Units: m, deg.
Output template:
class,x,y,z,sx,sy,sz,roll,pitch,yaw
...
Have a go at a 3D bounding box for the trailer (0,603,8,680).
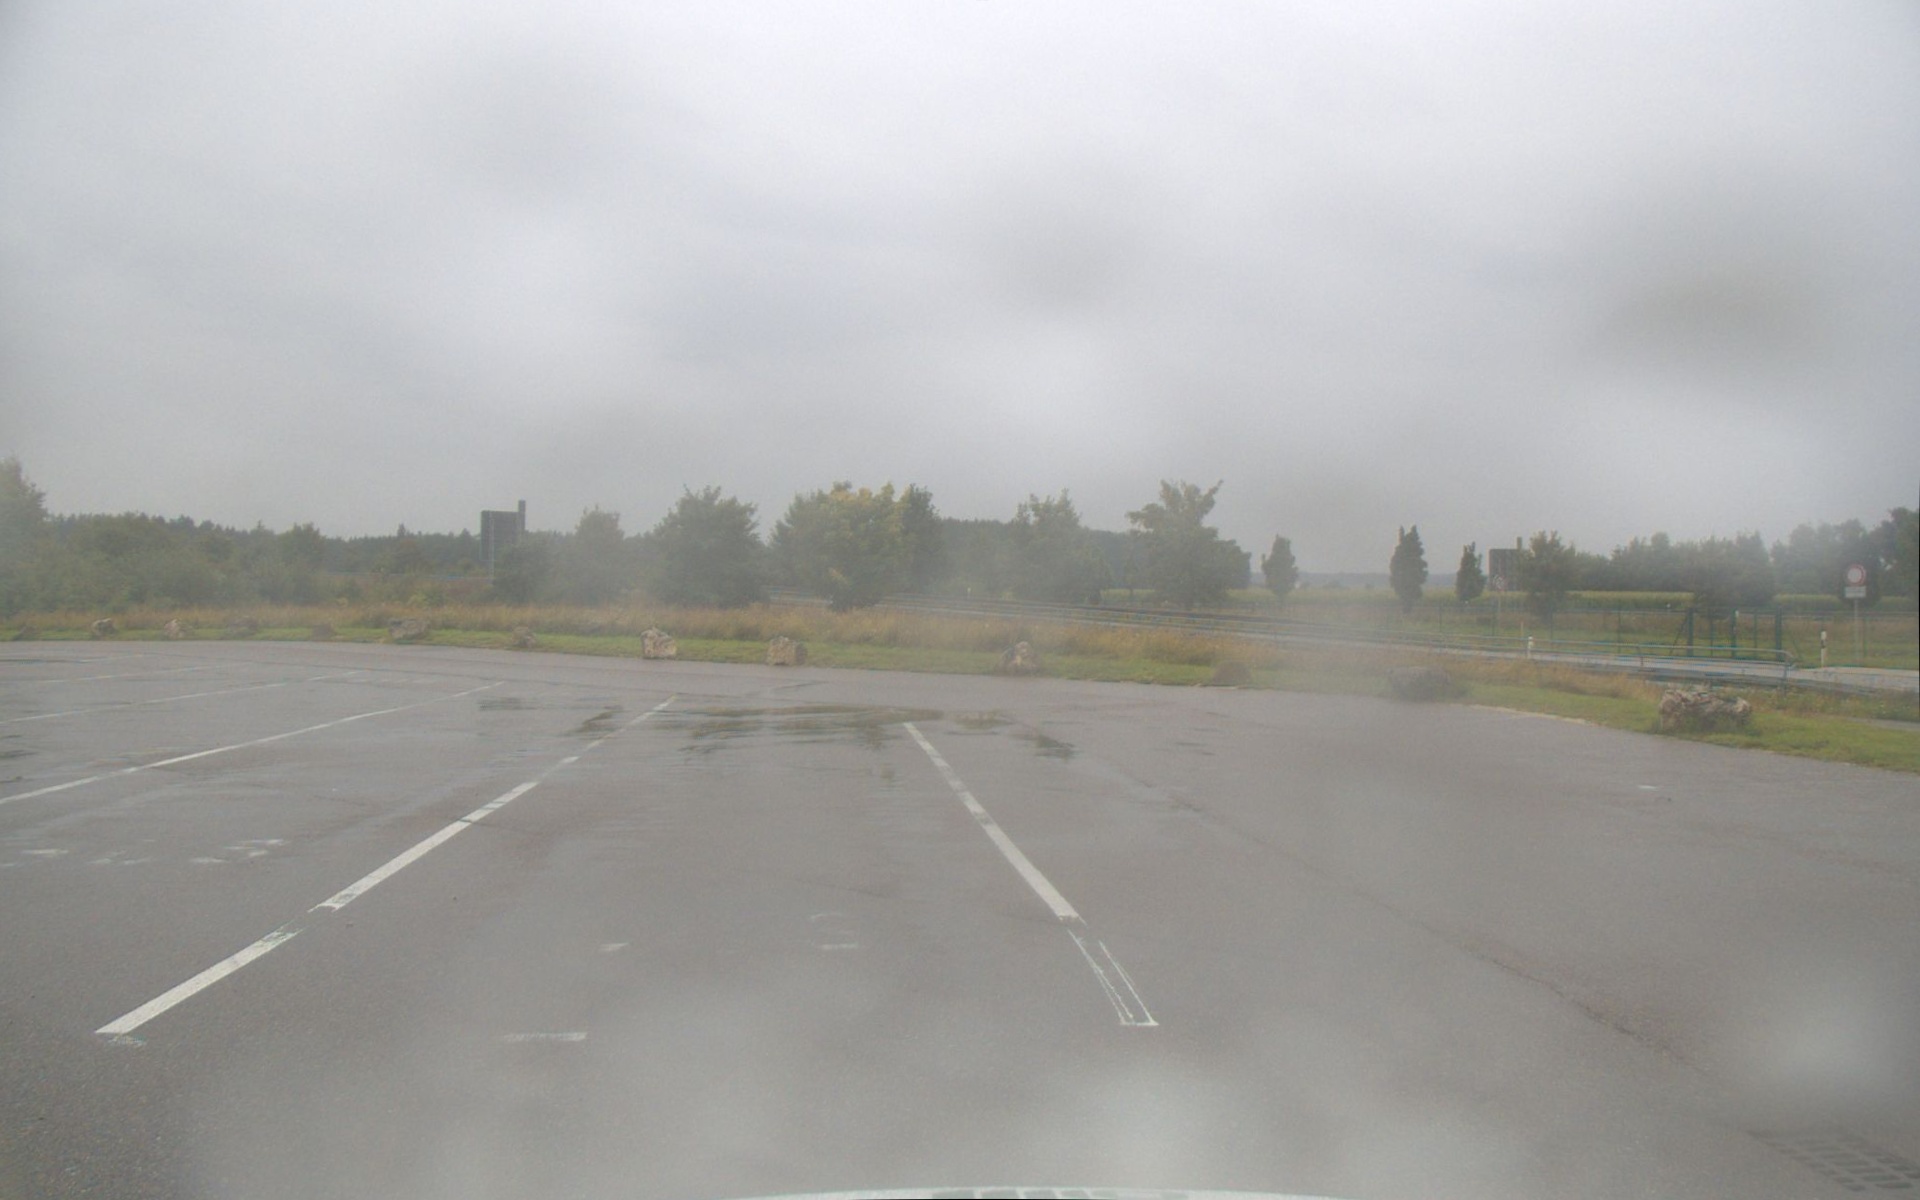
class,x,y,z,sx,sy,sz,roll,pitch,yaw
trailer,-20.229,0.863,31.829,1.661,1.559,3.998,-1,0,-3
